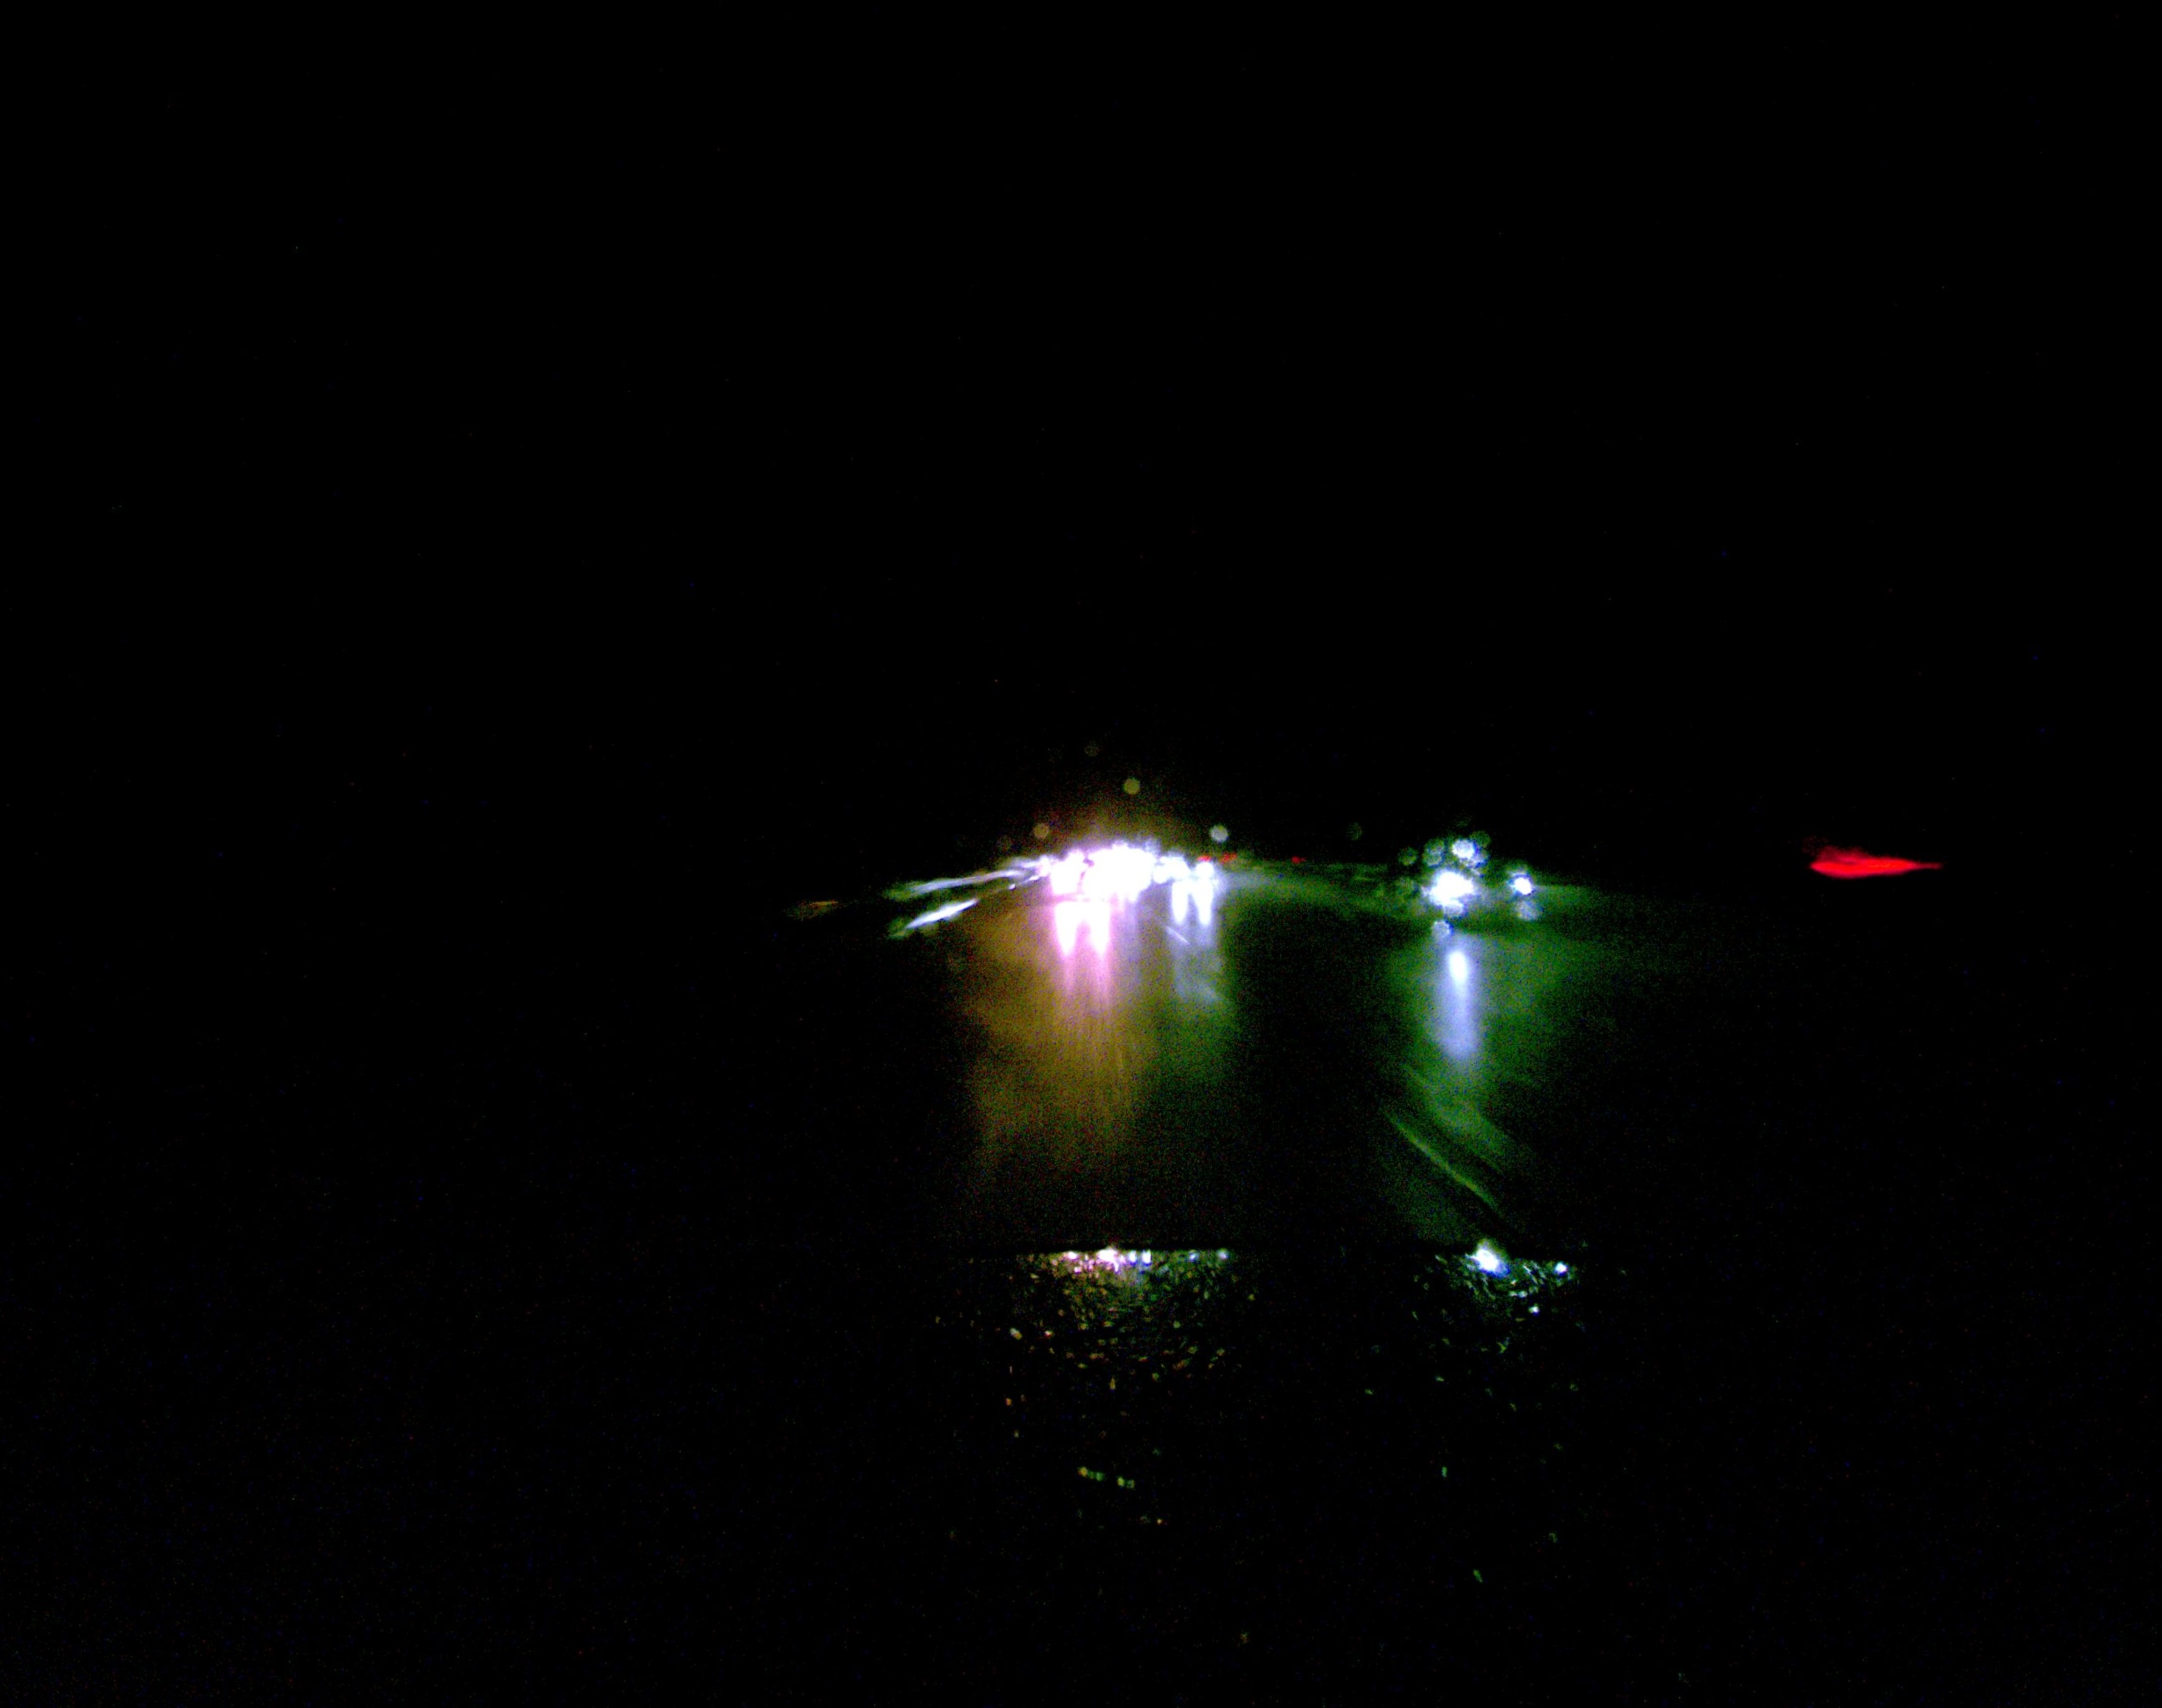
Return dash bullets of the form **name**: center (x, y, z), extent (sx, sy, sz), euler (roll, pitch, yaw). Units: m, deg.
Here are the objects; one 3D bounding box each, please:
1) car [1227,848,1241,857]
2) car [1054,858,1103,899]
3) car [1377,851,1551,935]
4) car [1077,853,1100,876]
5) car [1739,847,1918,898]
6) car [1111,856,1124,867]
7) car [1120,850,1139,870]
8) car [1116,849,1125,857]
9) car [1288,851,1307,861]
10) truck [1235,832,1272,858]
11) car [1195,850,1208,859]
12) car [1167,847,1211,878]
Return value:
- **car**: center (26.097, -0.320, 129.957), extent (1.646, 1.438, 3.932), euler (-2, 0, 1)
- **car**: center (-0.027, 0.903, 30.169), extent (1.774, 1.449, 4.196), euler (-2, 0, 2)
- **car**: center (7.721, 0.692, 15.803), extent (1.660, 1.422, 4.247), euler (-2, 1, 3)
- **car**: center (0.618, 0.828, 62.406), extent (1.792, 1.681, 4.000), euler (-2, 0, 1)
- **car**: center (24.551, 0.554, 25.206), extent (1.695, 1.461, 4.325), euler (-2, 0, 1)
- **car**: center (5.379, 1.125, 112.601), extent (1.755, 1.563, 4.000), euler (-2, 0, 1)
- **car**: center (4.508, 0.541, 71.145), extent (1.611, 1.775, 3.910), euler (-2, 0, 1)
- **car**: center (8.910, -0.218, 171.372), extent (1.800, 1.728, 4.000), euler (-2, 0, 1)
- **car**: center (32.561, 0.289, 114.260), extent (1.646, 1.438, 3.932), euler (-2, 0, 1)
- **truck**: center (33.579, -1.693, 149.188), extent (3.418, 4.532, 17.598), euler (-2, 0, 1)
- **car**: center (22.371, 0.040, 140.909), extent (1.682, 1.495, 3.815), euler (-2, 0, 1)
- **car**: center (6.439, 0.488, 45.817), extent (1.960, 1.655, 4.916), euler (-2, 0, 1)
